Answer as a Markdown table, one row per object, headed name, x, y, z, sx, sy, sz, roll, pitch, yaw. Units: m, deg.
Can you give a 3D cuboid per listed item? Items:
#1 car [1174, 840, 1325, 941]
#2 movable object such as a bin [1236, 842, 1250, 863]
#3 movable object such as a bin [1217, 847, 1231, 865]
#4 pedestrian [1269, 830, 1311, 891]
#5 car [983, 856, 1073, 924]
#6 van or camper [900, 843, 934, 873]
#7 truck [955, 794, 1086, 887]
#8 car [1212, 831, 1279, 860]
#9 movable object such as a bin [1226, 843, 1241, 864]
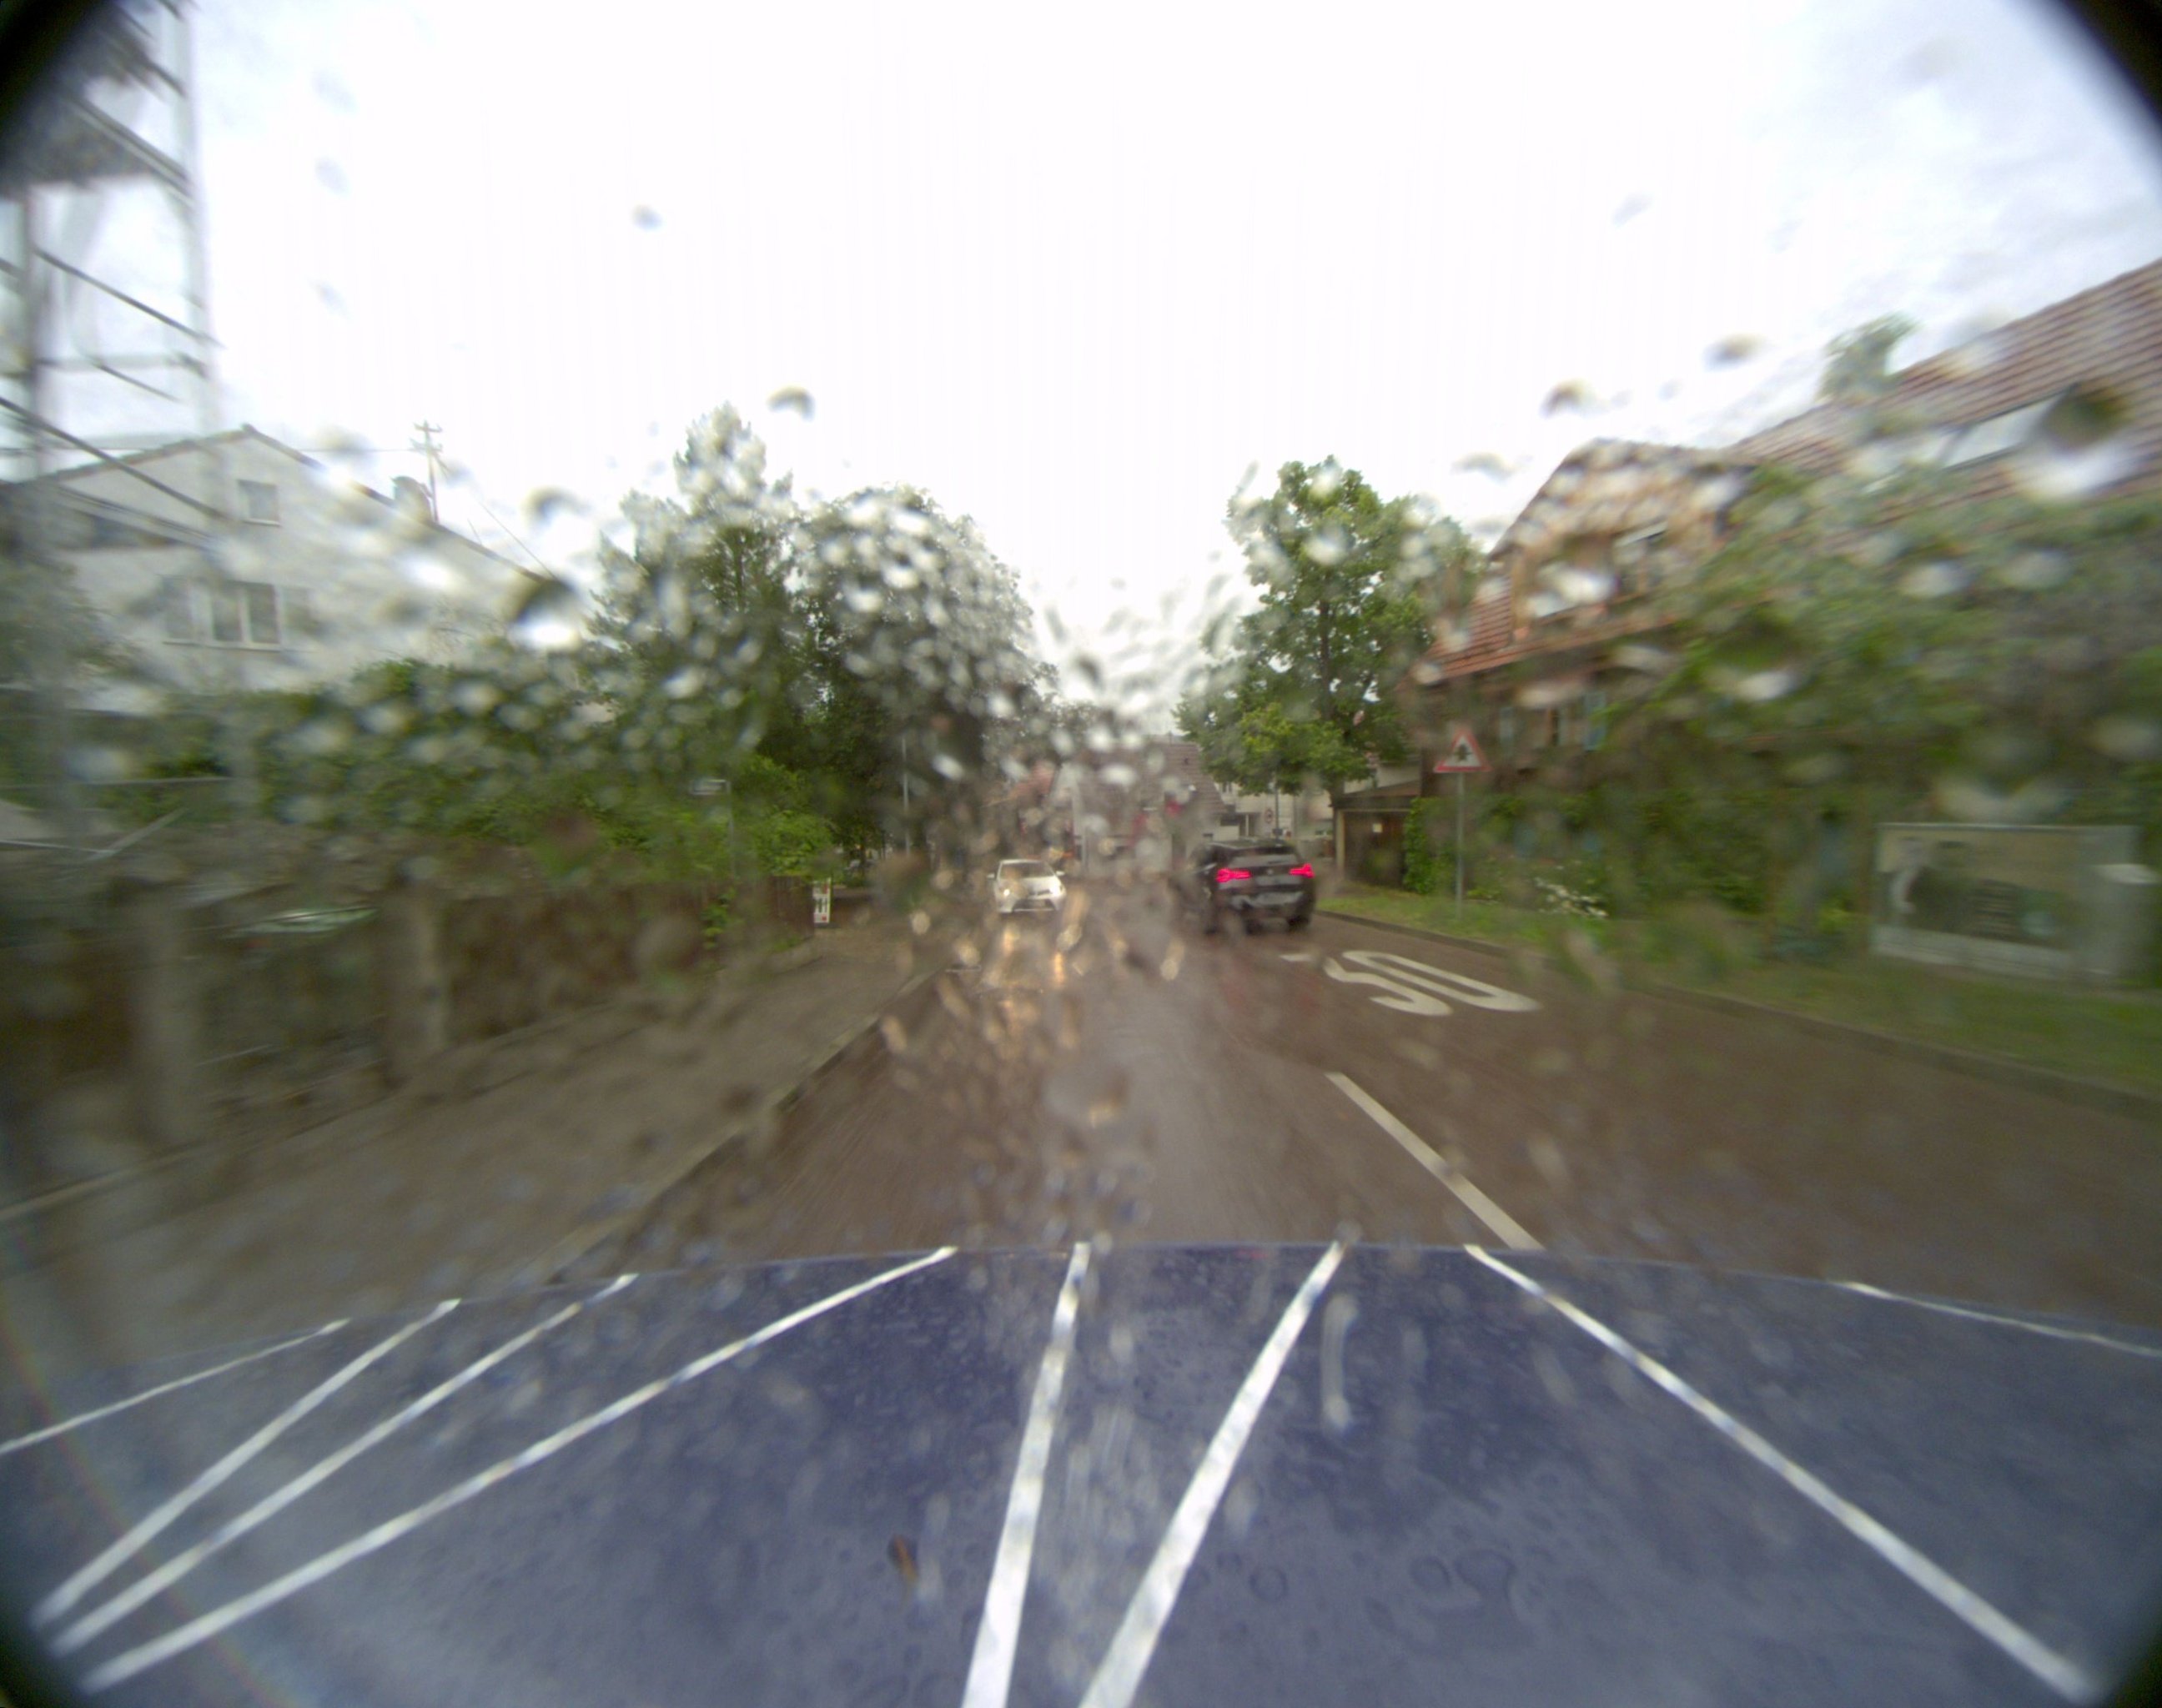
| name | x | y | z | sx | sy | sz | roll | pitch | yaw |
| --- | --- | --- | --- | --- | --- | --- | --- | --- | --- |
| car | 3.080 | 0.589 | 14.794 | 1.893 | 1.606 | 4.139 | -2 | 1 | -1 |
| movable object such as a bin | 8.855 | -0.065 | 41.549 | 0.531 | 1.117 | 0.517 | -3 | 1 | -23 |
| movable object such as a bin | 7.771 | 0.114 | 41.184 | 0.518 | 0.935 | 0.500 | -3 | 1 | -23 |
| pedestrian | 6.534 | 0.199 | 23.790 | 0.971 | 1.820 | 0.894 | -3 | 1 | -6 |
| car | -1.494 | 0.850 | 19.957 | 1.860 | 1.427 | 4.012 | -4 | 1 | -10 |
| van or camper | -14.599 | 0.363 | 67.616 | 2.002 | 2.519 | 4.735 | -2 | 1 | -23 |
| truck | -3.341 | -0.566 | 37.708 | 2.860 | 3.945 | 10.409 | -3 | 1 | -25 |
| car | 9.487 | -0.472 | 44.208 | 1.729 | 1.524 | 3.992 | -3 | 1 | -24 |
| movable object such as a bin | 8.316 | -0.002 | 41.349 | 0.546 | 1.117 | 0.516 | -3 | 1 | -23 |
